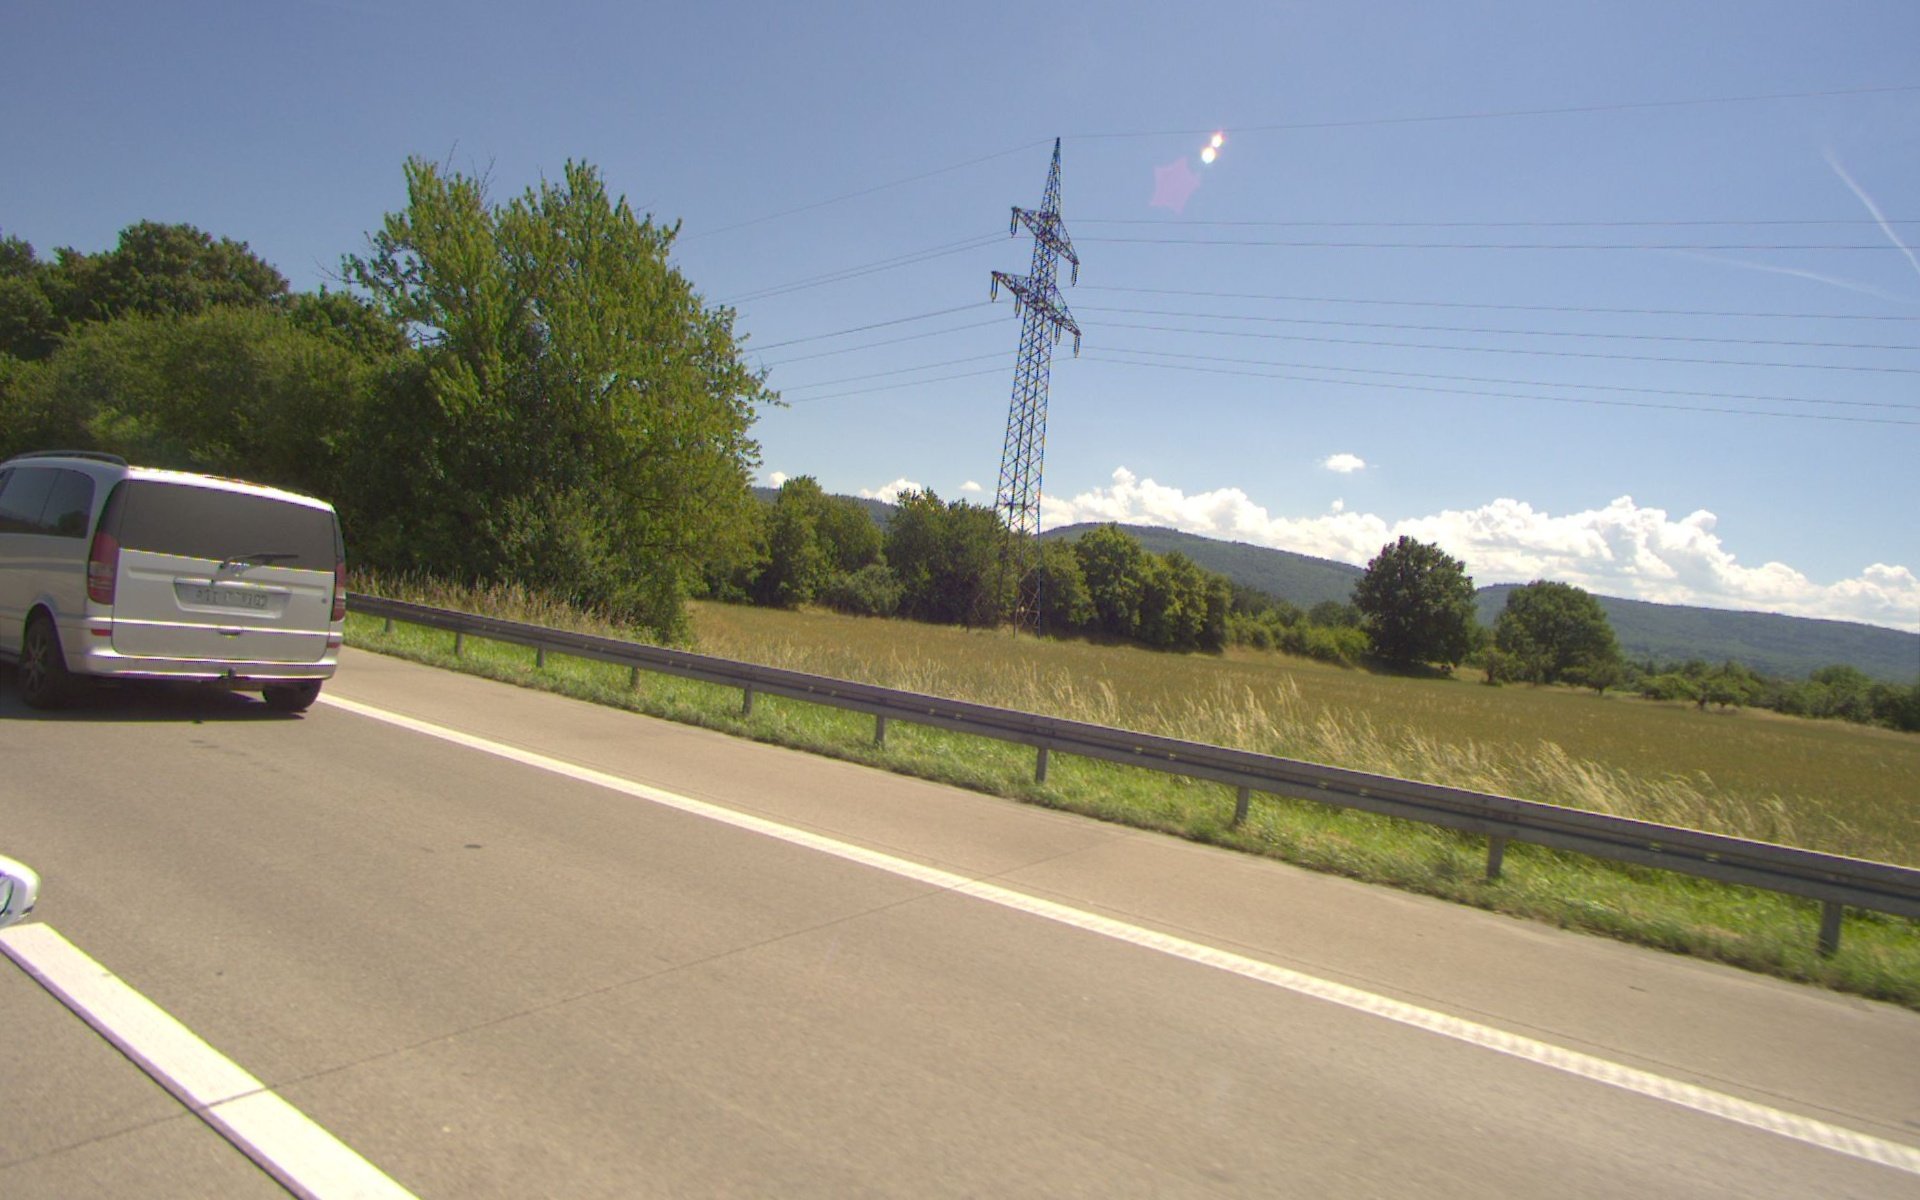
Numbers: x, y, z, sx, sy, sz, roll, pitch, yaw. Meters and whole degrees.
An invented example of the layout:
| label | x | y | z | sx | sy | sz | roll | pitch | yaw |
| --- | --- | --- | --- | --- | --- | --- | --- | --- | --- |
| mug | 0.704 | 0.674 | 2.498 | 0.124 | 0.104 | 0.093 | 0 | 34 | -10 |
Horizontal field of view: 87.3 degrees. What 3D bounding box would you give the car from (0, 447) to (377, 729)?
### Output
| label | x | y | z | sx | sy | sz | roll | pitch | yaw |
| --- | --- | --- | --- | --- | --- | --- | --- | --- | --- |
| car | -7.719 | -0.236 | 9.077 | 5.192 | 1.911 | 1.882 | 7 | -1 | 32 |
